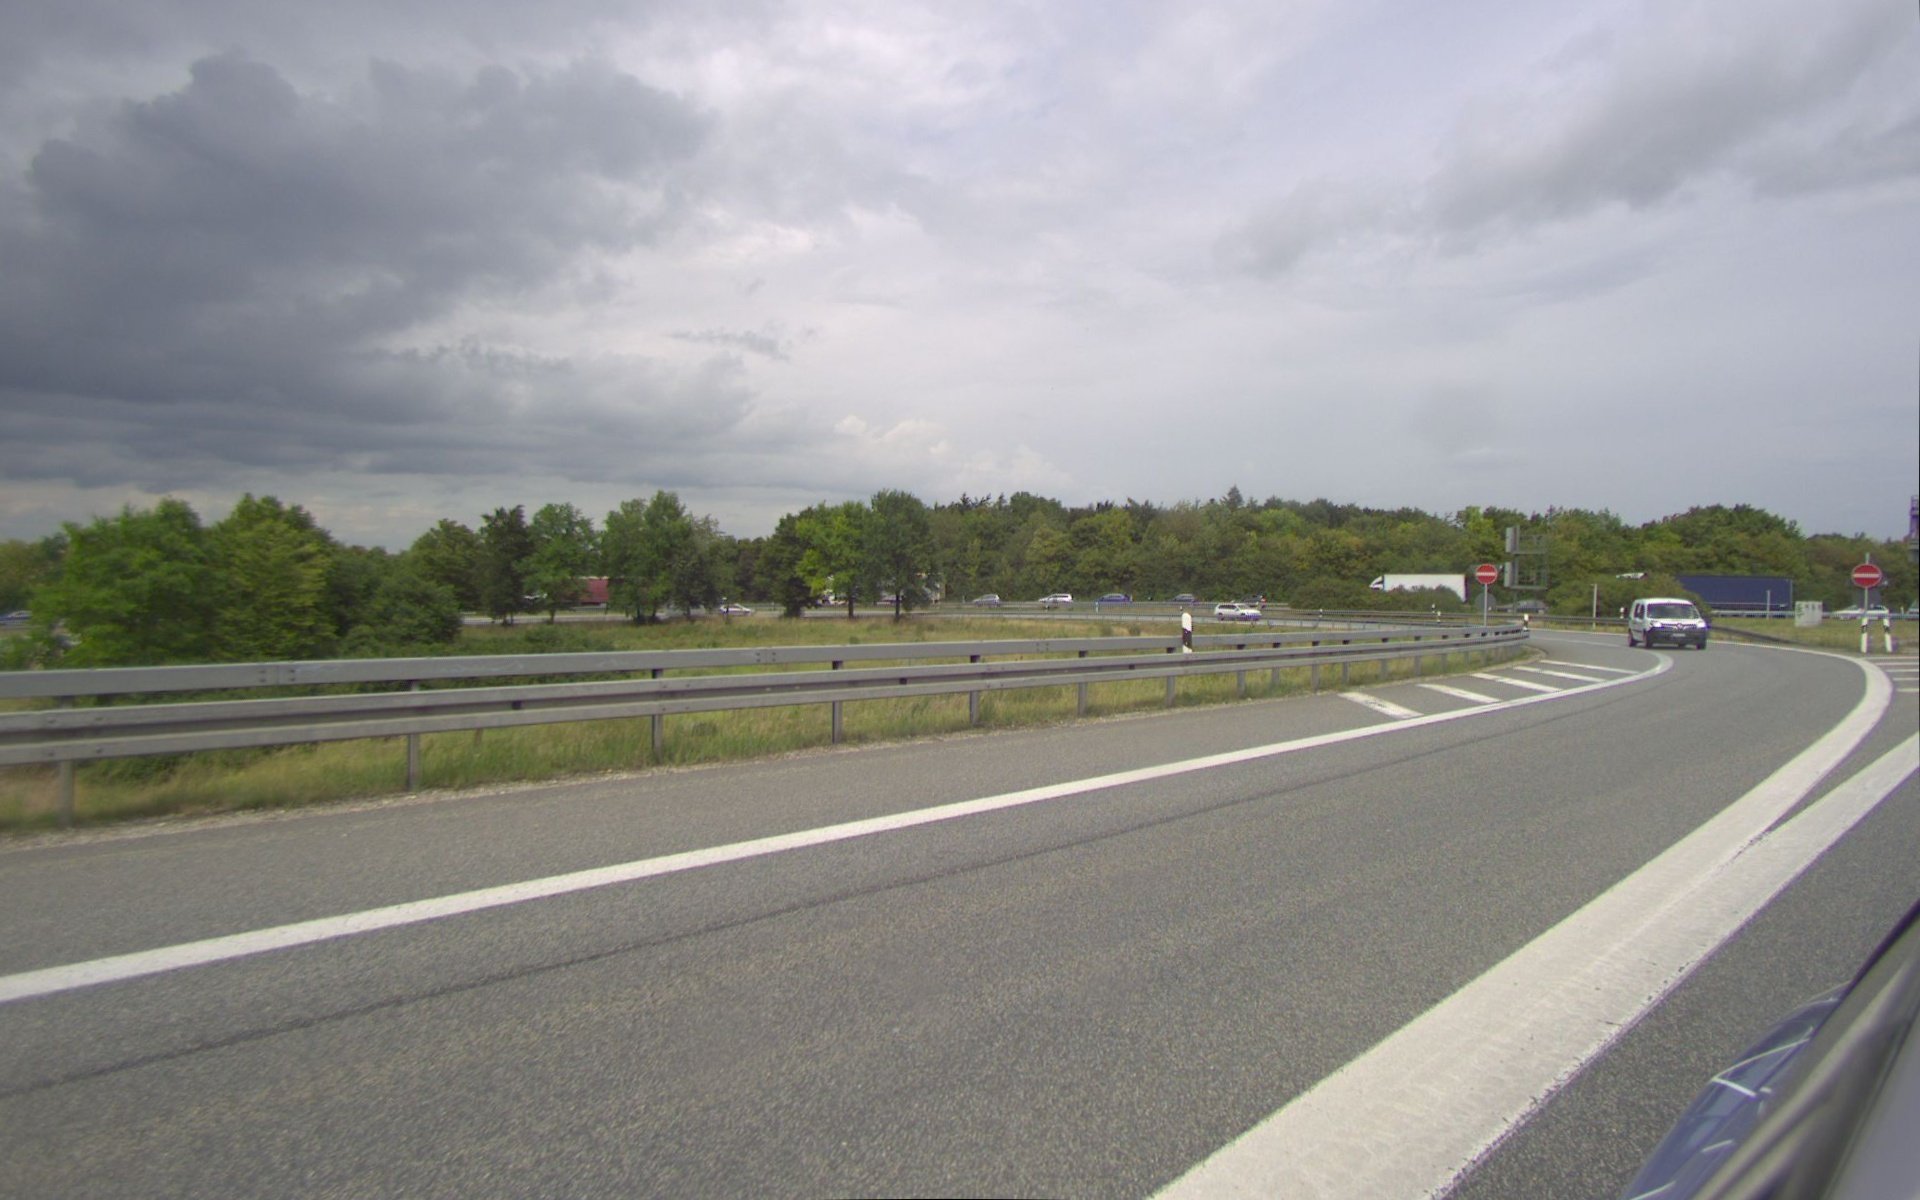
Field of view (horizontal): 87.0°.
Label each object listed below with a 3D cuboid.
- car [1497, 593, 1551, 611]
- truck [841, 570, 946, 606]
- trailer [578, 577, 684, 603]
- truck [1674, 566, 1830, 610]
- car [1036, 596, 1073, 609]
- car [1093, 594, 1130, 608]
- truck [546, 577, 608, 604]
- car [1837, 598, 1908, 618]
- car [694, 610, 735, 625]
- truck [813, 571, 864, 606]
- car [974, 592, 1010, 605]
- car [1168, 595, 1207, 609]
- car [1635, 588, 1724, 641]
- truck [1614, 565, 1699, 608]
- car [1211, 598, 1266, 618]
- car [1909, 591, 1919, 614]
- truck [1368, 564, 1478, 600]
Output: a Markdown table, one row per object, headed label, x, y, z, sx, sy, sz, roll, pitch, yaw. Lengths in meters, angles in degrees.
| label | x | y | z | sx | sy | sz | roll | pitch | yaw |
| --- | --- | --- | --- | --- | --- | --- | --- | --- | --- |
| car | 50.805 | 0.178 | 91.228 | 3.951 | 1.569 | 1.726 | 0 | 0 | 21 |
| truck | -8.210 | -1.432 | 124.826 | 12.835 | 4.296 | 2.681 | 0 | 0 | 17 |
| trailer | -40.985 | -1.195 | 126.557 | 12.296 | 3.169 | 3.270 | 0 | 0 | -9 |
| truck | 72.762 | -1.086 | 93.163 | 11.583 | 3.907 | 2.843 | 0 | 0 | 5 |
| car | 11.038 | 0.281 | 118.002 | 3.952 | 1.577 | 1.786 | 0 | 0 | 22 |
| car | 17.145 | 0.087 | 114.843 | 3.951 | 1.512 | 1.548 | 0 | 0 | 21 |
| truck | -47.406 | -1.159 | 125.424 | 6.796 | 3.308 | 3.203 | 0 | 0 | -11 |
| car | 82.388 | 0.701 | 91.381 | 4.417 | 1.807 | 1.998 | 0 | 0 | 5 |
| car | -27.988 | 2.017 | 115.414 | 4.264 | 1.675 | 2.035 | -1 | -1 | -1 |
| truck | -15.202 | -1.424 | 126.901 | 5.716 | 4.232 | 2.679 | -1 | -1 | 17 |
| car | 3.849 | -0.117 | 120.975 | 3.950 | 1.498 | 1.693 | -1 | -1 | 20 |
| car | 25.152 | 0.214 | 111.875 | 3.958 | 1.468 | 1.545 | 0 | 0 | 25 |
| car | 25.411 | 0.463 | 35.876 | 1.844 | 1.768 | 3.965 | 0 | 0 | 25 |
| truck | 64.550 | -1.232 | 93.913 | 5.823 | 3.851 | 2.898 | 0 | -1 | 5 |
| car | 23.506 | 0.654 | 85.575 | 1.693 | 1.560 | 4.484 | 0 | 0 | -34 |
| car | 90.330 | 0.239 | 92.506 | 5.832 | 2.039 | 2.003 | 0 | 0 | -8 |
| truck | 45.869 | -1.697 | 100.474 | 9.772 | 3.446 | 2.672 | 0 | 0 | 25 |
